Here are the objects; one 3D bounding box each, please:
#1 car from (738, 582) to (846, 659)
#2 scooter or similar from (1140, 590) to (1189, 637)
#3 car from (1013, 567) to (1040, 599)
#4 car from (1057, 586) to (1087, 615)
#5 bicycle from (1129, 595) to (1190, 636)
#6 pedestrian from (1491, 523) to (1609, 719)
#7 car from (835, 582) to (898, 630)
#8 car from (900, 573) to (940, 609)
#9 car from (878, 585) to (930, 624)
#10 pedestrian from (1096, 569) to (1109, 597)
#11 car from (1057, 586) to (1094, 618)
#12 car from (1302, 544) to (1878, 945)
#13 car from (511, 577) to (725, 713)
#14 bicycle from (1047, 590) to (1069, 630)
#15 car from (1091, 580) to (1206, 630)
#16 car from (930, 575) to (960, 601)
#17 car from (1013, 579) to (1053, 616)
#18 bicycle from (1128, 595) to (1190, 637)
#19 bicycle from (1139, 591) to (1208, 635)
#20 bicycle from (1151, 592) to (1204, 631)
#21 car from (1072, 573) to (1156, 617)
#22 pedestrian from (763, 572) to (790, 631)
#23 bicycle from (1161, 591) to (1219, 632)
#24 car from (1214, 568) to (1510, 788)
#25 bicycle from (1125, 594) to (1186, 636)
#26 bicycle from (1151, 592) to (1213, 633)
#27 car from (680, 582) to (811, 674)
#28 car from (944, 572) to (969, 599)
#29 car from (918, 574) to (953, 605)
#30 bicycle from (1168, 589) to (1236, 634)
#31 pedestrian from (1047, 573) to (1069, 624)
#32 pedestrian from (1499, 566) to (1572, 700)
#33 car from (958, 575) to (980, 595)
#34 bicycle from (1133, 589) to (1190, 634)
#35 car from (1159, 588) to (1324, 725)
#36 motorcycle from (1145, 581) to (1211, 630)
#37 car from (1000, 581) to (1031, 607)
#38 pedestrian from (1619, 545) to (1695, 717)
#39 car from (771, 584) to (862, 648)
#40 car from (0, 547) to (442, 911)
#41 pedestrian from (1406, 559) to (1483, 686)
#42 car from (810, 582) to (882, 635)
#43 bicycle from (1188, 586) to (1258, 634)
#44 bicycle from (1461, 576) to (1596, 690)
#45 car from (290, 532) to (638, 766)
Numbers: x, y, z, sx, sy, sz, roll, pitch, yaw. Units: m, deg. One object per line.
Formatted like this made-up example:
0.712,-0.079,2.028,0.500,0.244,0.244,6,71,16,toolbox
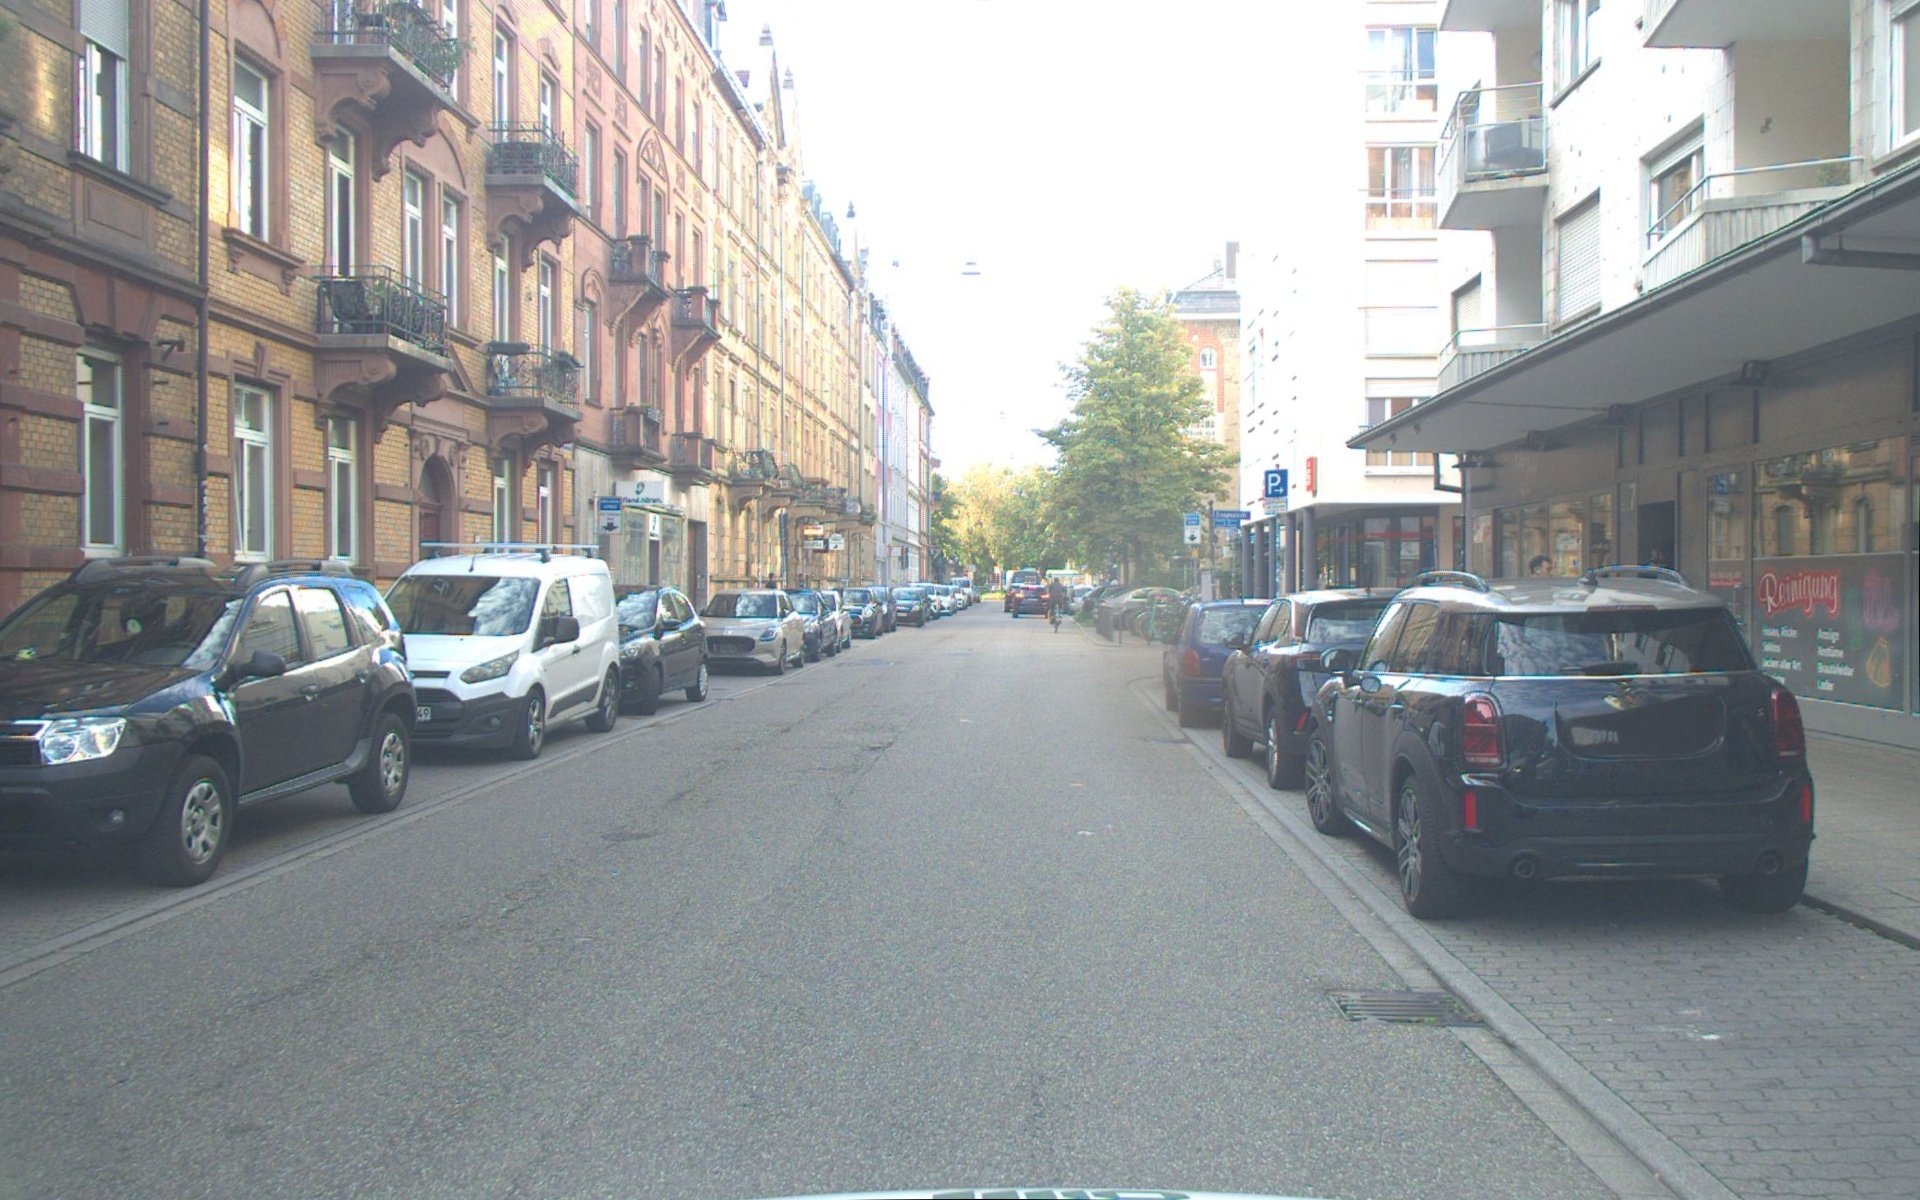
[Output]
-3.530,0.392,35.358,1.705,1.509,3.985,1,1,3,car
5.336,0.352,43.094,1.184,1.167,0.377,-2,2,35,scooter or similar
4.429,-1.136,111.005,1.745,2.055,3.889,1,1,2,car
6.456,0.014,95.583,1.655,1.577,3.690,1,0,3,car
5.817,0.448,48.347,1.728,1.138,0.412,-2,1,5,bicycle
5.553,0.178,15.614,0.600,1.756,1.126,-3,1,-3,pedestrian
-3.049,0.180,54.434,1.655,1.462,3.869,1,1,3,car
-1.843,-0.418,76.988,1.655,1.577,3.868,2,0,1,car
-2.154,0.153,64.714,1.655,1.393,3.869,3,1,2,car
11.482,-1.361,133.546,0.974,2.269,0.899,1,1,3,pedestrian
6.338,0.099,91.043,1.890,1.666,4.002,1,1,3,car
3.065,0.591,8.961,1.755,1.633,3.926,-2,1,3,car
-4.205,0.511,20.953,1.705,1.509,3.984,1,0,2,car
3.288,0.317,55.723,0.703,1.296,1.885,1,1,3,bicycle
6.574,0.182,57.853,3.689,1.573,1.728,-2,-1,-8,car
-0.930,-0.764,104.180,1.655,1.577,3.868,1,0,2,car
3.598,-0.126,81.362,1.924,1.771,4.043,1,0,3,car
5.724,0.457,47.606,1.728,1.118,0.412,-2,1,5,bicycle
5.626,0.338,43.705,1.730,1.075,0.411,-2,1,-3,bicycle
7.072,0.366,53.873,1.629,1.179,0.557,-2,1,4,bicycle
7.374,-0.262,78.914,3.902,1.712,1.740,-2,8,7,car
-5.904,0.044,53.283,0.674,1.885,0.932,1,1,4,pedestrian
7.048,0.345,50.630,1.696,1.179,0.500,-2,1,4,bicycle
3.266,0.567,14.163,1.653,1.604,3.903,-1,0,1,car
5.829,0.434,49.282,1.756,1.179,0.500,-2,1,5,bicycle
6.665,0.383,49.652,1.760,1.179,0.499,-2,1,29,bicycle
-3.852,0.452,30.309,1.705,1.509,3.985,1,1,2,car
-0.232,-1.059,120.660,1.655,1.853,3.868,1,0,2,car
-1.313,-0.541,88.889,1.655,1.577,3.868,1,0,2,car
6.482,0.307,44.311,1.728,1.106,0.650,-2,1,5,bicycle
3.298,-0.065,55.773,0.703,1.679,0.931,1,1,3,pedestrian
7.153,0.400,20.584,0.630,1.616,0.781,-2,0,4,pedestrian
0.713,-1.204,135.790,1.655,1.577,3.868,1,0,2,car
5.483,0.313,45.096,1.465,1.166,0.411,-2,1,-3,bicycle
3.332,0.609,20.173,1.562,1.464,4.032,-1,1,4,car
7.317,0.182,55.550,2.104,1.557,0.687,-2,1,7,motorcycle
3.247,-0.373,97.621,1.760,1.497,3.889,1,1,2,car
7.851,0.333,18.623,0.694,1.893,0.643,0,0,31,pedestrian
-3.377,0.343,39.538,1.655,1.411,3.869,1,1,3,car
-4.730,0.555,9.740,1.952,1.666,4.146,2,1,1,car
6.278,0.289,21.460,0.806,1.616,0.781,0,0,4,pedestrian
-3.288,0.212,48.289,1.655,1.411,3.869,1,1,3,car
6.860,0.255,43.245,1.728,1.182,0.650,-2,1,5,bicycle
7.046,0.380,20.644,0.899,1.313,2.500,-2,0,3,bicycle
-4.532,0.371,15.883,1.880,1.904,4.438,1,1,2,car
